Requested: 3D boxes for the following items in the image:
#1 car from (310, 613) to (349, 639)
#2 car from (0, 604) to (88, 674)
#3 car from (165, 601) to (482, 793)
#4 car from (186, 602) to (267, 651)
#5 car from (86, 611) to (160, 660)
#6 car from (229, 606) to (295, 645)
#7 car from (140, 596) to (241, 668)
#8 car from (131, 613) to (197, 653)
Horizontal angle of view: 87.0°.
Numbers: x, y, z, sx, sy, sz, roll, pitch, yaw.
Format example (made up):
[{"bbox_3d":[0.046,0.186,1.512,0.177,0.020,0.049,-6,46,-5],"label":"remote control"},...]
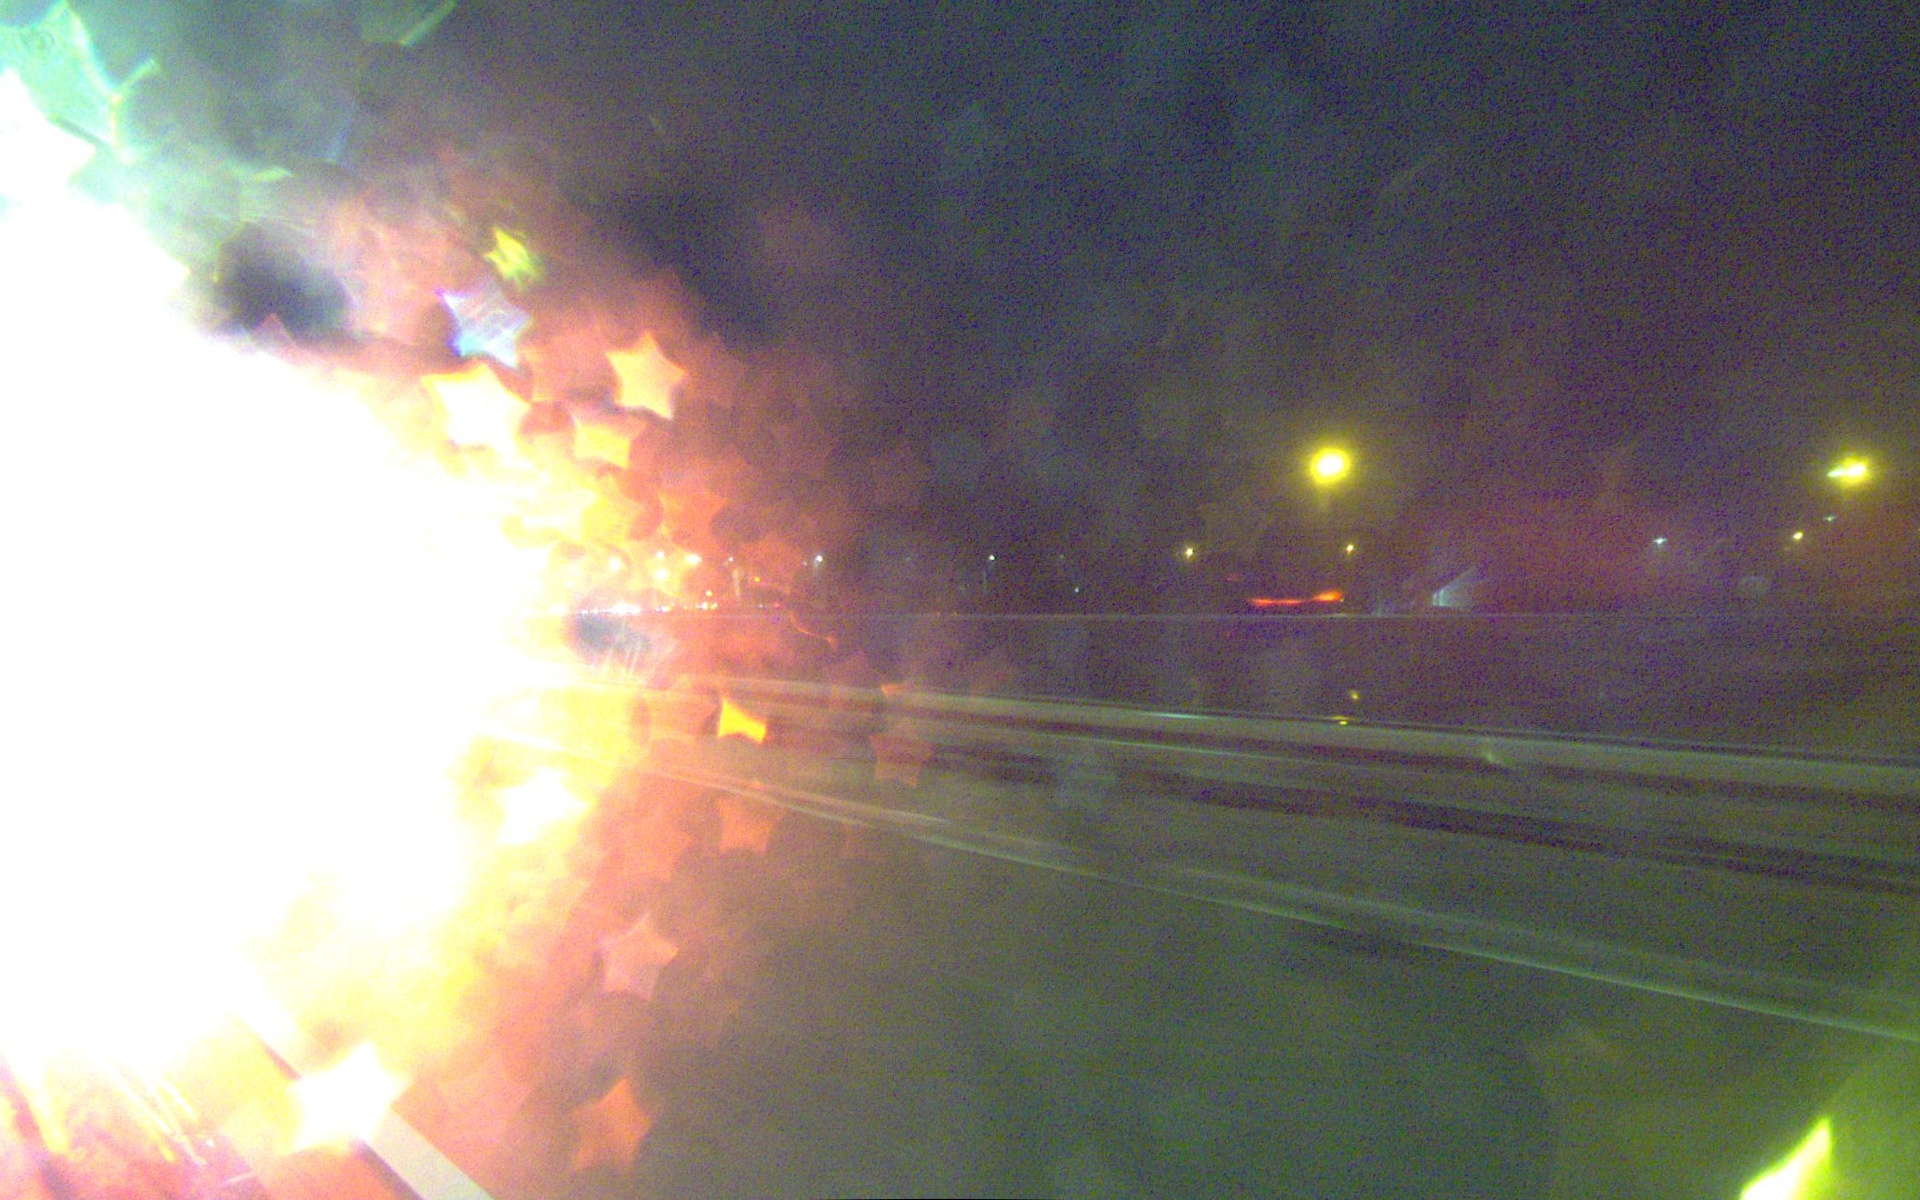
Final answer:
[{"bbox_3d":[-50.844,2.091,81.695,1.965,1.949,4.013,-1,-1,-22],"label":"car"},{"bbox_3d":[-27.807,1.149,30.364,1.966,1.949,4.011,-1,-1,-33],"label":"car"},{"bbox_3d":[-6.486,0.810,10.117,1.970,1.495,4.004,0,-1,-43],"label":"car"},{"bbox_3d":[-31.492,1.113,43.583,2.340,1.950,4.430,-1,-1,-29],"label":"car"},{"bbox_3d":[-36.125,1.508,43.786,1.966,1.949,4.011,-1,-1,-33],"label":"car"},{"bbox_3d":[-37.186,1.323,54.034,2.340,1.950,4.431,-1,-1,-27],"label":"car"},{"bbox_3d":[-24.612,0.995,32.520,2.341,2.107,4.428,-1,-1,-34],"label":"car"},{"bbox_3d":[-42.024,1.716,53.519,1.965,1.949,4.013,-1,-1,-27],"label":"car"}]
